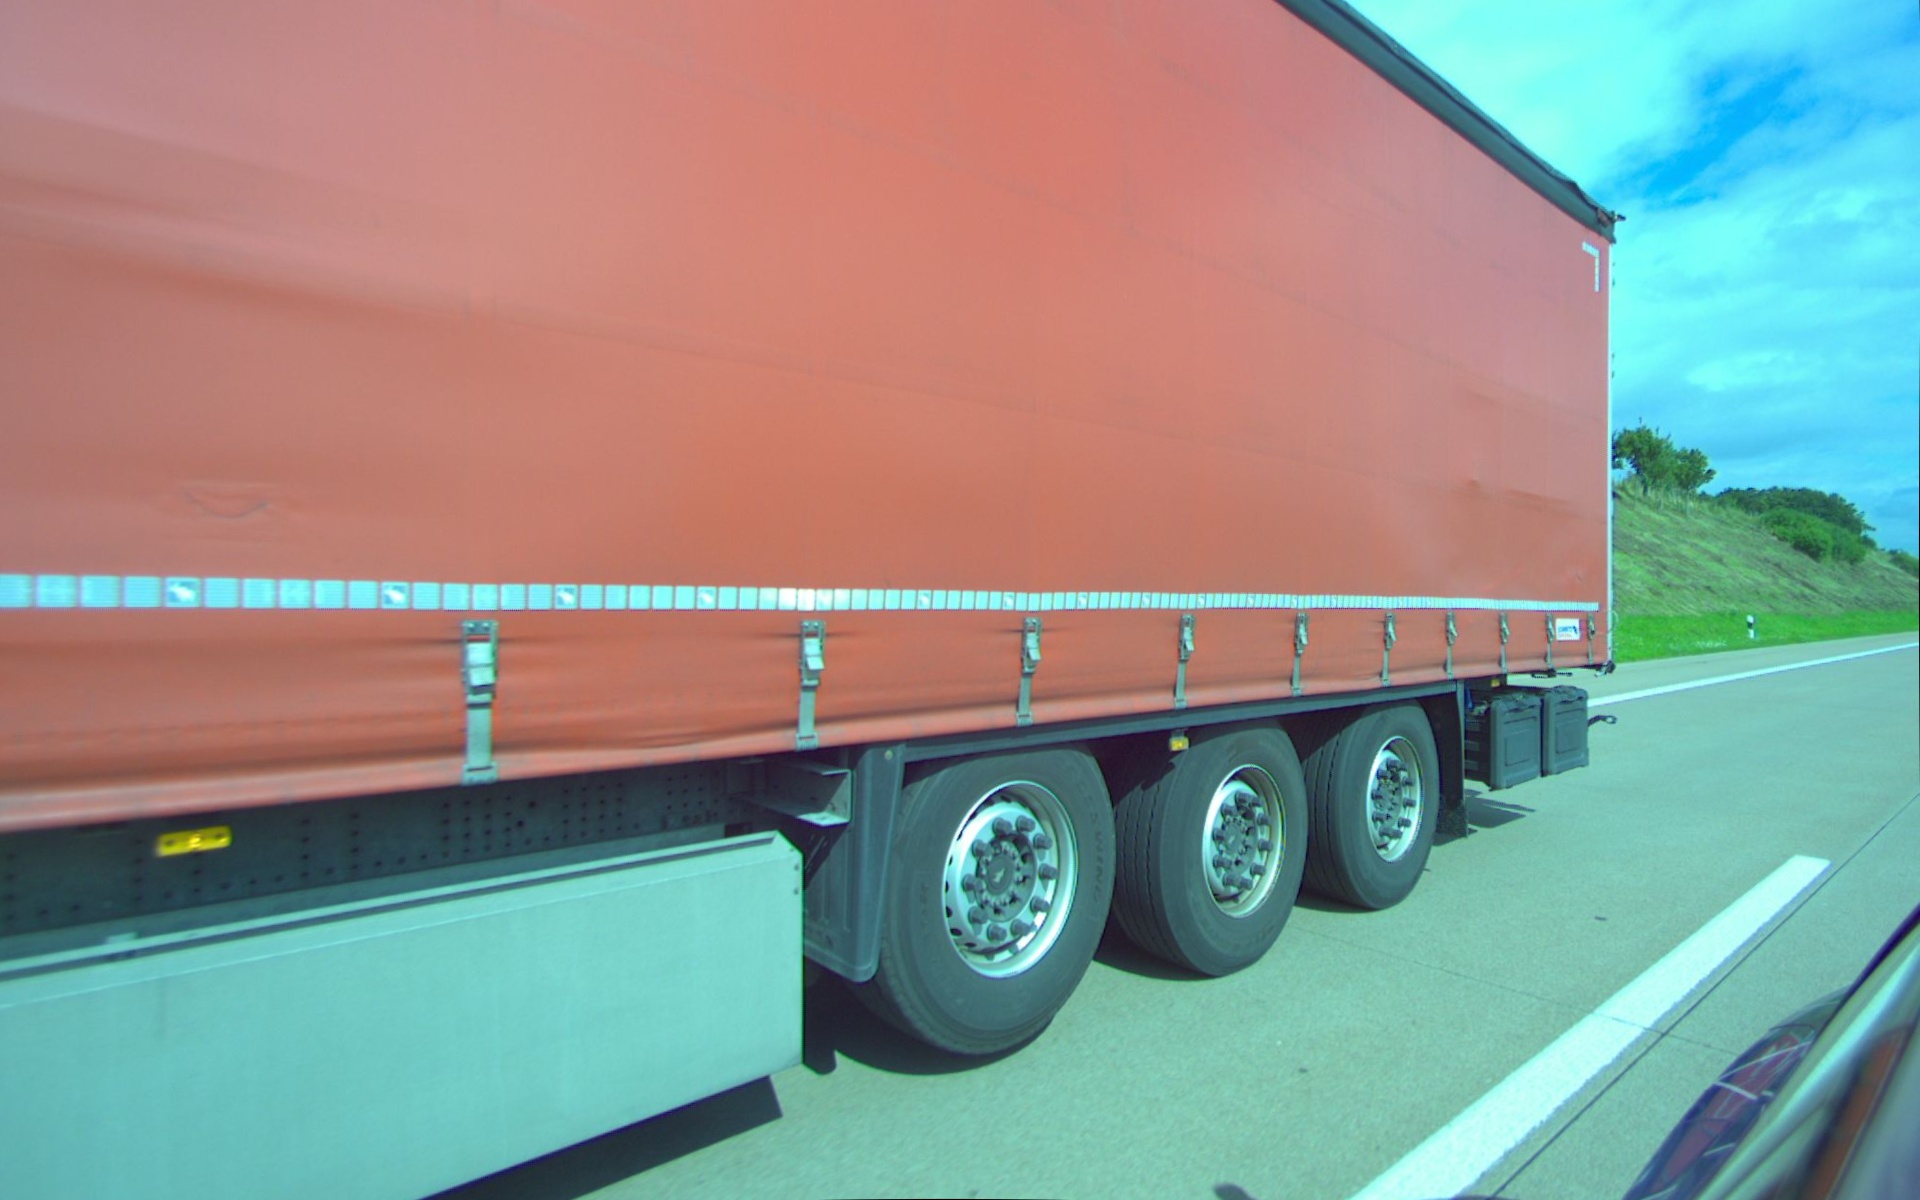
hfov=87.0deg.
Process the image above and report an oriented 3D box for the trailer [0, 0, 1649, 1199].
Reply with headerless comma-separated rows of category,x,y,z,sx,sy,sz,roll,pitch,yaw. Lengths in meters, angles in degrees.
trailer,-1.213,-0.700,3.423,12.564,4.145,2.677,-1,1,-41
